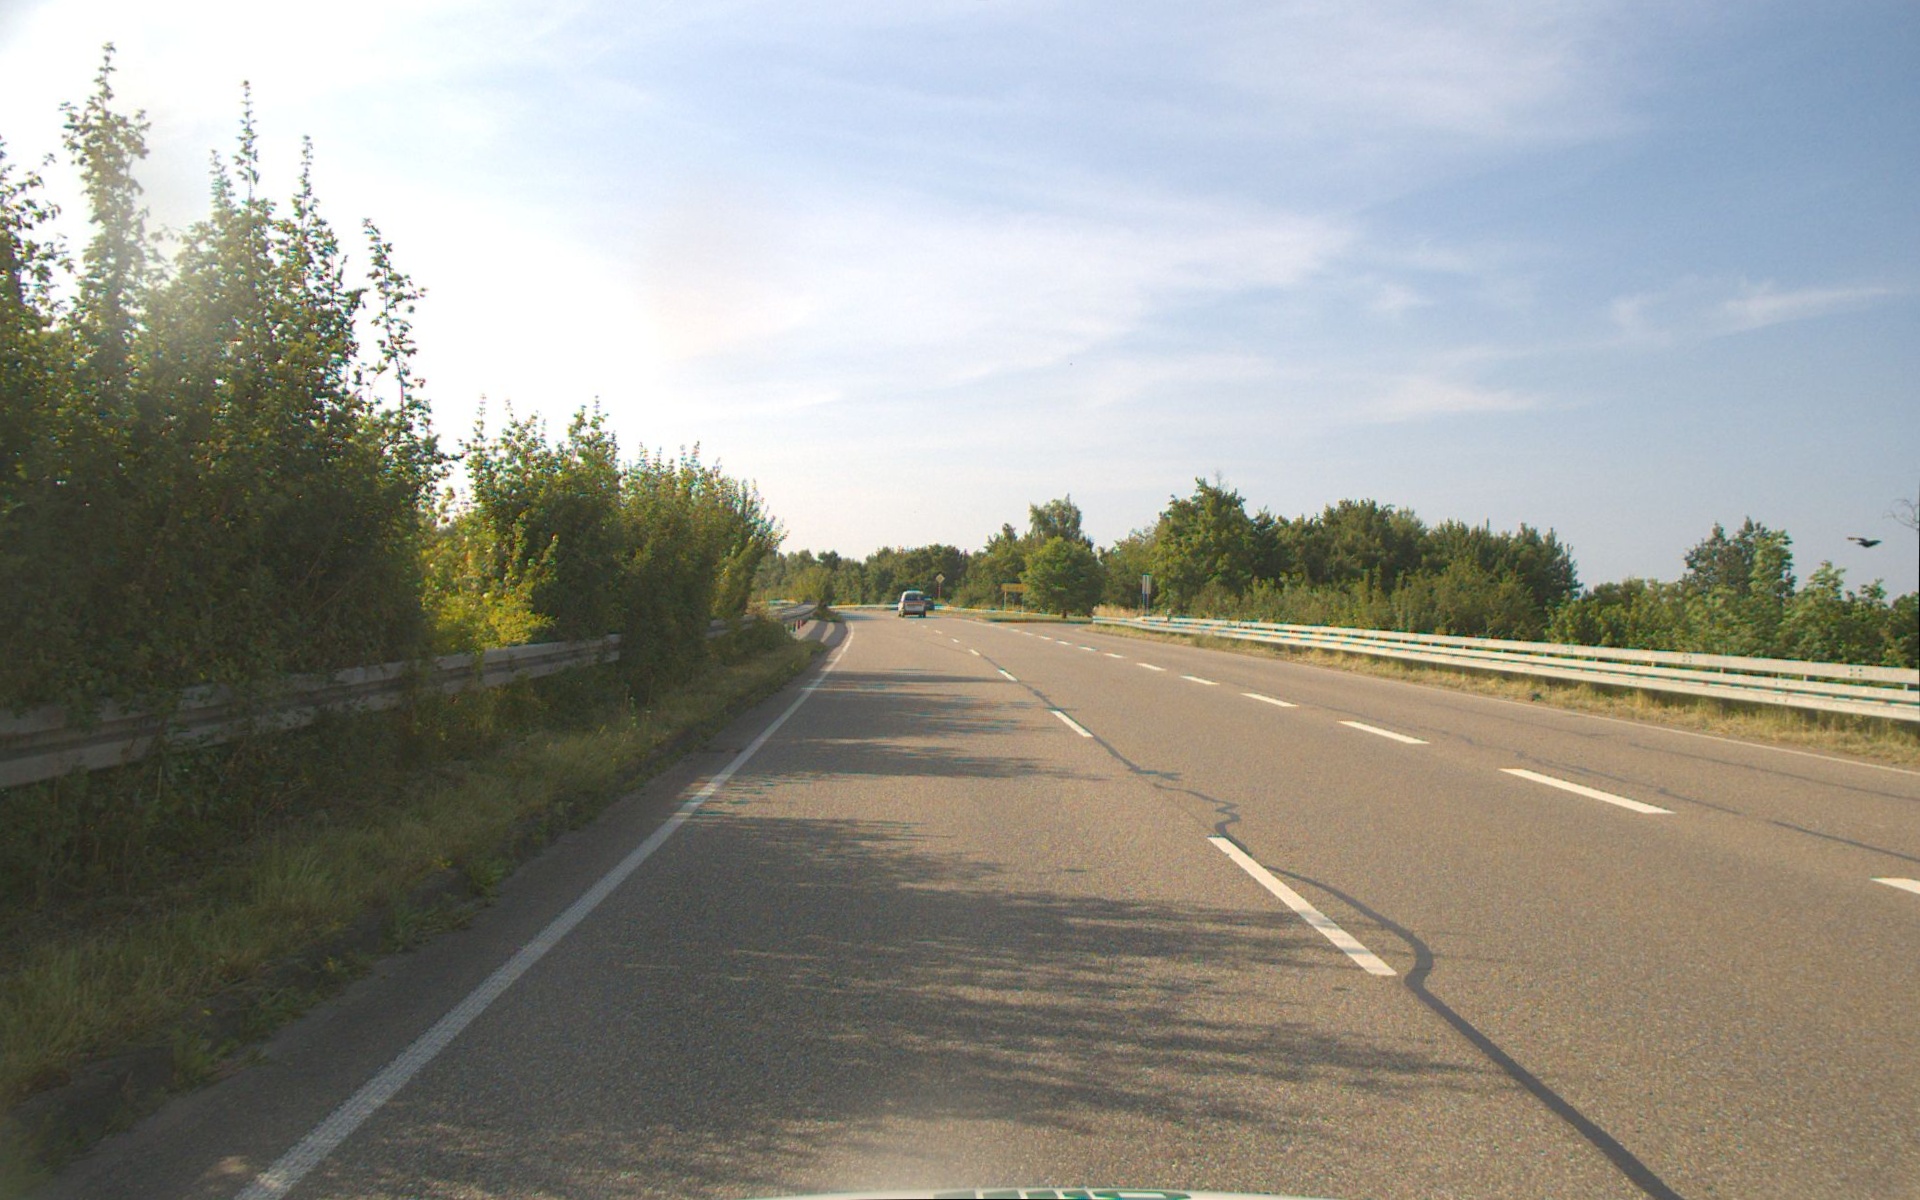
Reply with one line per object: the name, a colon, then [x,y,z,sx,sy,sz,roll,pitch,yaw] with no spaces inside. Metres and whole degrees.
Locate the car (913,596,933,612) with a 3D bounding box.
car: [-3.666,0.435,162.749,1.744,1.477,3.995,0,-1,-6]

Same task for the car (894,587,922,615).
car: [-3.678,0.091,116.511,1.731,1.915,3.995,1,-1,-6]
